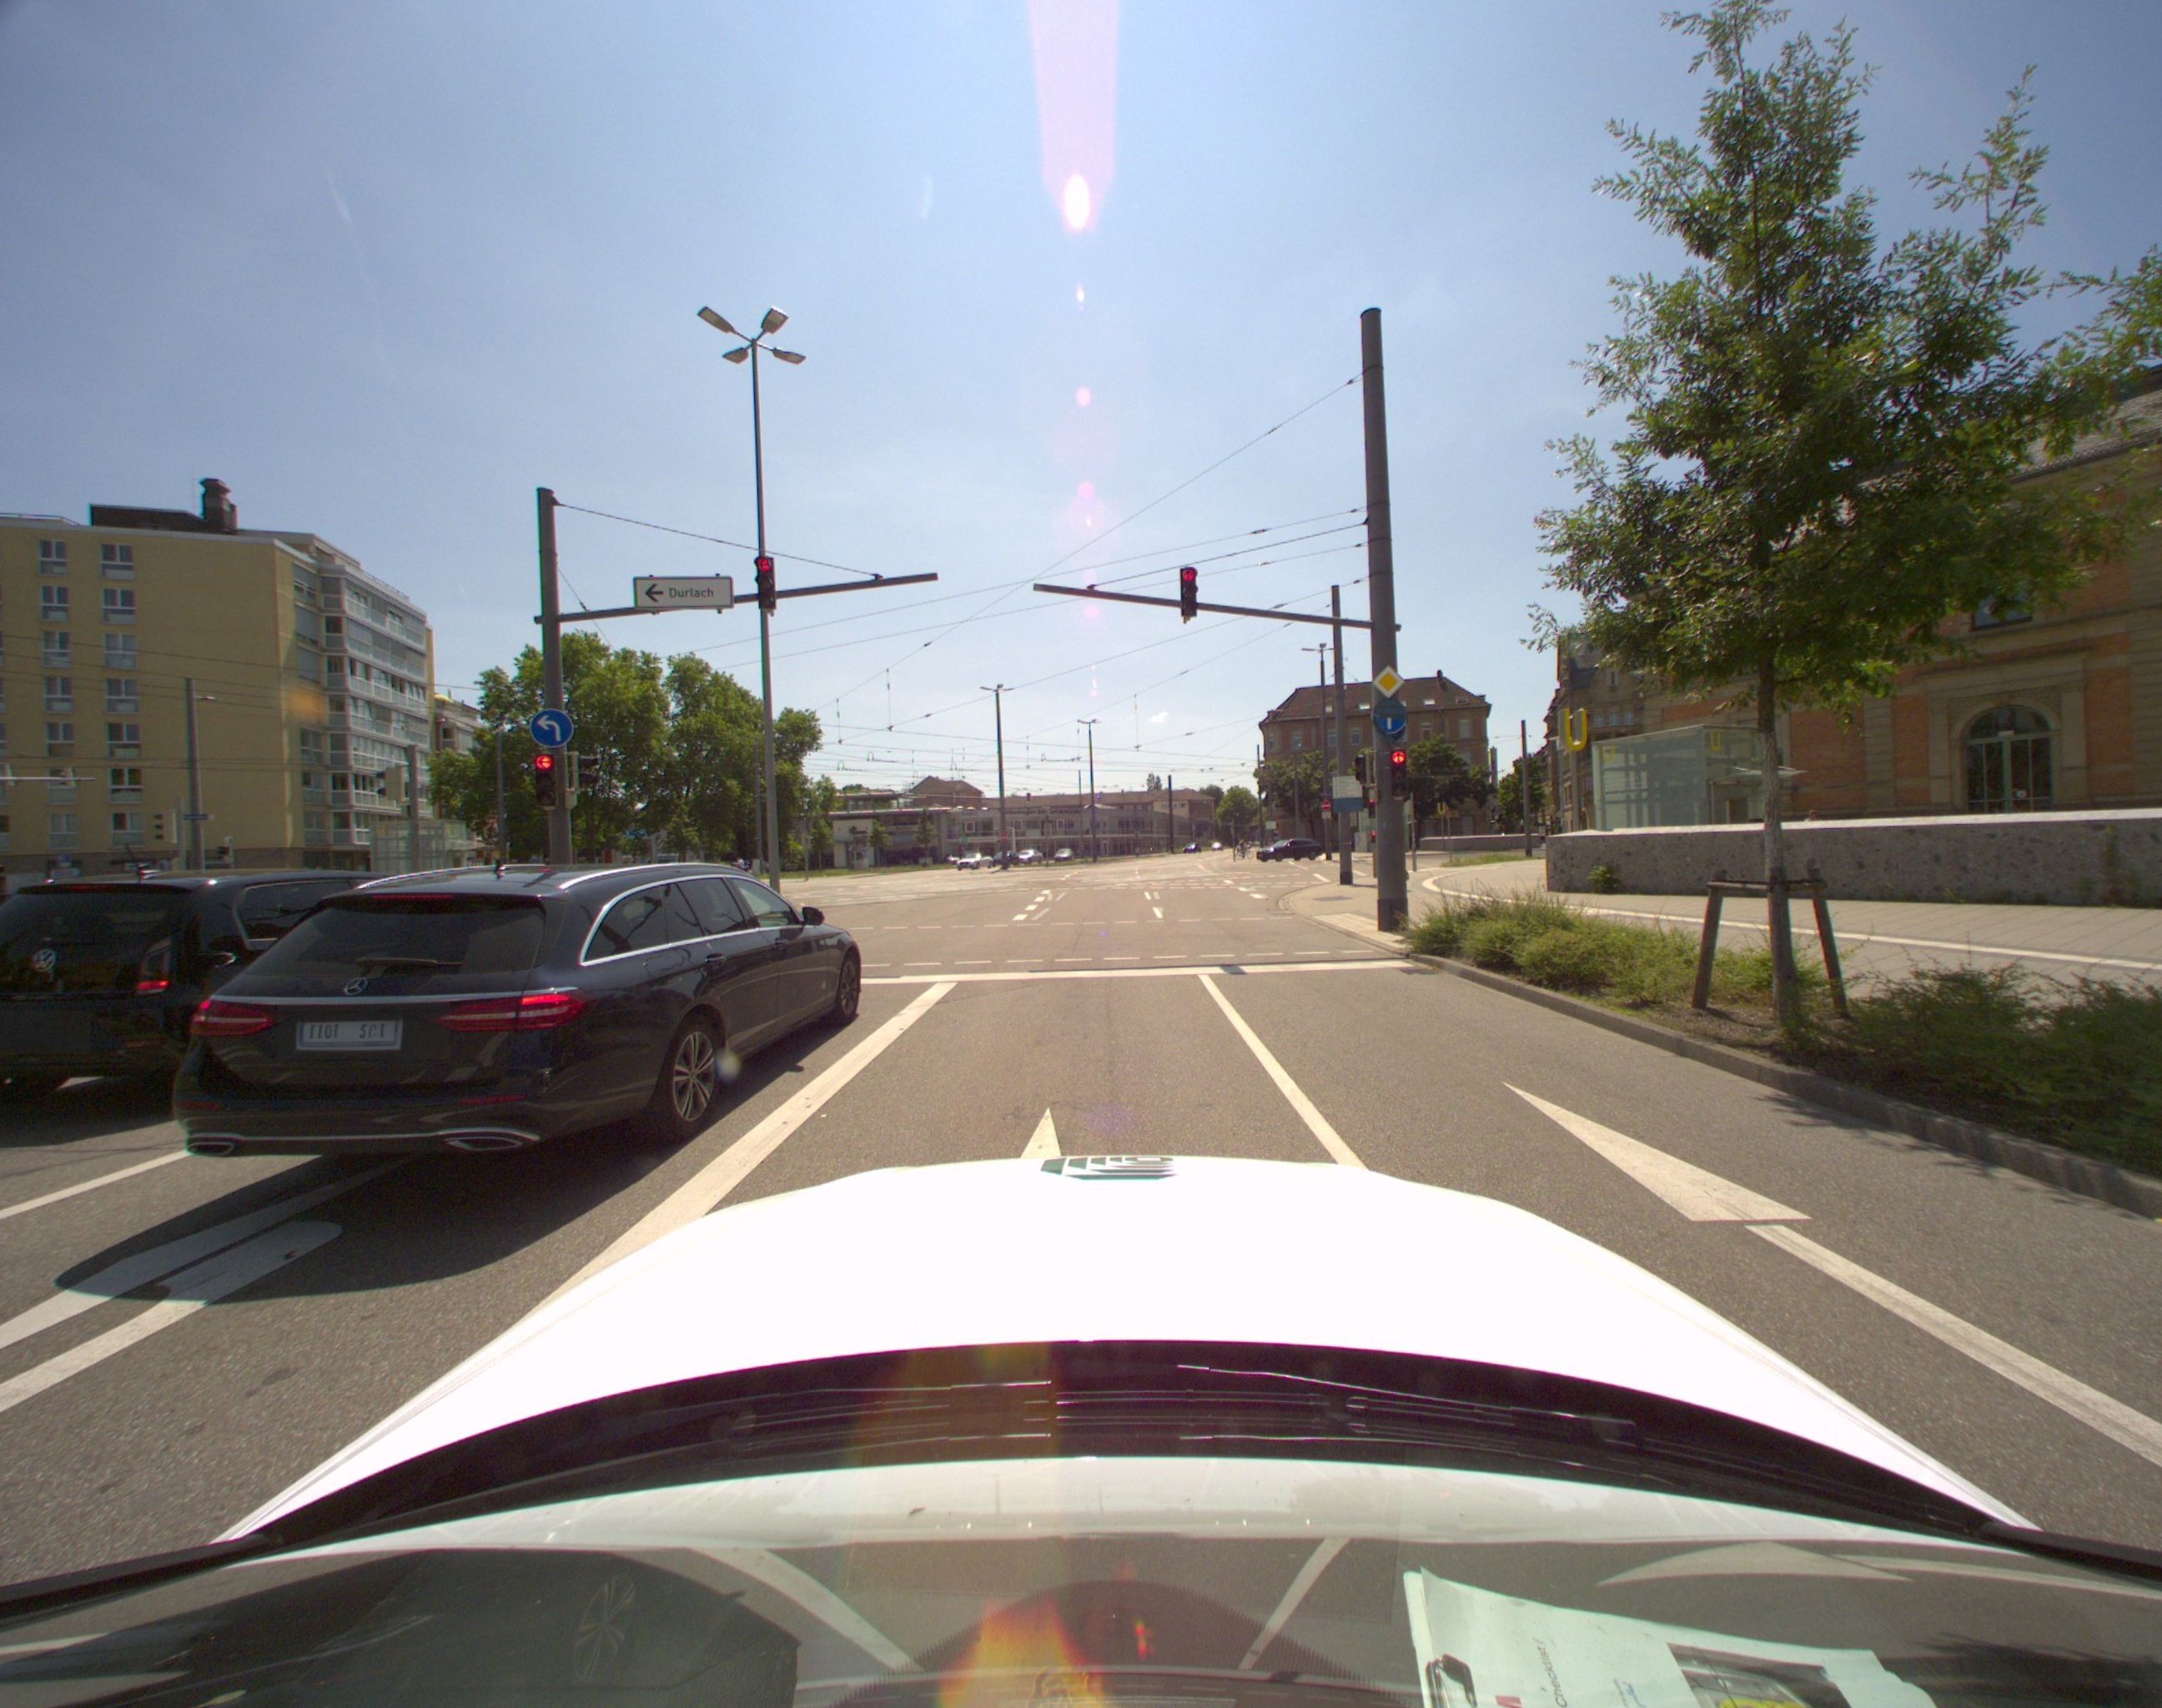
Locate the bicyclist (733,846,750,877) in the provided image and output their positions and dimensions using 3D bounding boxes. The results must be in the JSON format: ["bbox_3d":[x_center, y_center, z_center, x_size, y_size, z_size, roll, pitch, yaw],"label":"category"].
[{"bbox_3d":[-21.850,0.474,52.469,0.761,1.937,0.660,-1,2,-1],"label":"bicyclist"}]

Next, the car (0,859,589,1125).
[{"bbox_3d":[-6.103,0.811,6.668,1.615,1.463,4.001,-2,0,1],"label":"car"}]

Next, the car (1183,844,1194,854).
[{"bbox_3d":[17.086,-0.821,129.390,1.520,1.458,3.565,-1,2,12],"label":"car"}]

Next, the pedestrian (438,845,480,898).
[{"bbox_3d":[-35.607,0.986,46.654,1.211,2.937,1.335,-1,2,-3],"label":"pedestrian"}]

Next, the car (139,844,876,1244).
[{"bbox_3d":[-2.895,0.759,5.584,1.711,1.556,4.587,-2,0,1],"label":"car"}]

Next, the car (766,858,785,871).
[{"bbox_3d":[-40.128,1.376,107.015,1.422,1.508,3.433,-1,2,-5],"label":"car"}]

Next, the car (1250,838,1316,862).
[{"bbox_3d":[13.686,-0.280,55.229,4.110,1.450,1.688,-2,2,-17],"label":"car"}]

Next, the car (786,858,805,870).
[{"bbox_3d":[-37.308,1.303,106.535,1.507,1.418,3.416,-1,2,-5],"label":"car"}]

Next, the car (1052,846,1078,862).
[{"bbox_3d":[-1.627,-0.018,85.239,1.558,1.427,3.631,-1,2,18],"label":"car"}]

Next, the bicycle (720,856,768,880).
[{"bbox_3d":[-21.705,0.920,52.480,2.817,1.463,0.633,-1,2,-2],"label":"bicycle"}]

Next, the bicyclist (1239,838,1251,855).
[{"bbox_3d":[14.186,-0.642,70.395,0.734,1.479,0.652,-2,2,-18],"label":"bicyclist"}]

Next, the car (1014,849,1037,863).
[{"bbox_3d":[-5.537,0.202,81.586,1.421,1.285,3.274,-1,2,13],"label":"car"}]

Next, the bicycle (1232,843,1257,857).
[{"bbox_3d":[14.105,-0.335,70.374,2.166,1.107,0.454,-2,2,-17],"label":"bicycle"}]

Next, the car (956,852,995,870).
[{"bbox_3d":[-9.016,0.594,69.723,1.606,1.390,4.144,-2,0,18],"label":"car"}]

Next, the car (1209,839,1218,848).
[{"bbox_3d":[24.770,-1.986,151.987,1.575,1.528,3.728,-1,2,11],"label":"car"}]

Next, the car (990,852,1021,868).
[{"bbox_3d":[-6.939,0.573,75.530,1.526,1.277,3.556,-1,2,18],"label":"car"}]

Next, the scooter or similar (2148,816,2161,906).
[{"bbox_3d":[14.524,0.101,10.238,0.398,1.167,1.281,-2,2,-21],"label":"scooter or similar"}]
